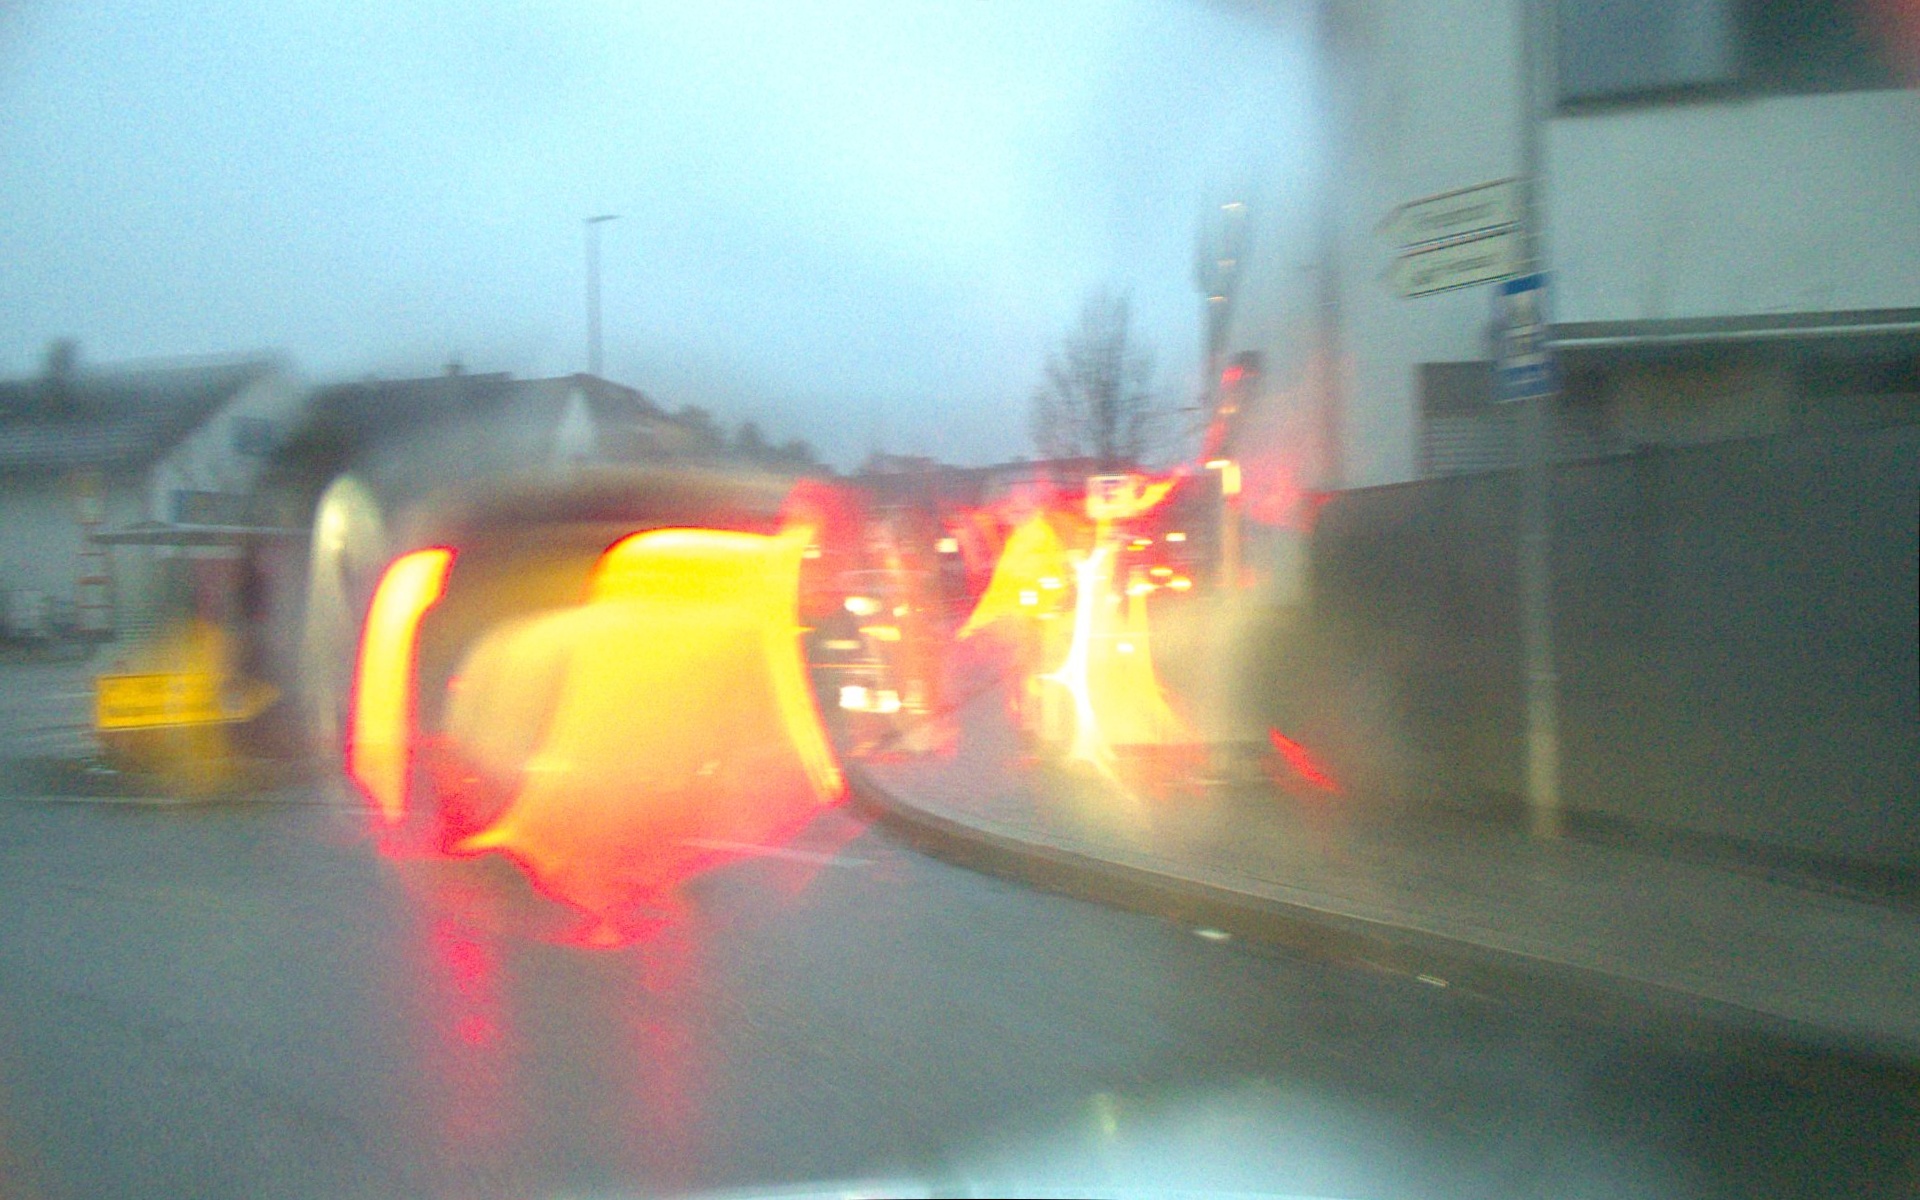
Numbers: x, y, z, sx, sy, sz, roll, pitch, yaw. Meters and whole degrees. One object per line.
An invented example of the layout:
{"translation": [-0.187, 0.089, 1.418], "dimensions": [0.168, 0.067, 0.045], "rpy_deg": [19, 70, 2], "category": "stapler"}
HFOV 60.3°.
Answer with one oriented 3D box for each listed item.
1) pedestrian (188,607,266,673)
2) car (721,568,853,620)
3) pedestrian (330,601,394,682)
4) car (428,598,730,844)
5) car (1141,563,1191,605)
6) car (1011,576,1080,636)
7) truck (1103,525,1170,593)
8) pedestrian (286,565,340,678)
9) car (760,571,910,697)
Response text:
{"translation": [-11.828, 0.639, 26.702], "dimensions": [0.843, 1.028, 0.812], "rpy_deg": [-1, 1, 7], "category": "pedestrian"}
{"translation": [-5.991, -0.207, 57.467], "dimensions": [4.216, 1.668, 1.848], "rpy_deg": [-1, 1, 6], "category": "car"}
{"translation": [-10.357, 0.712, 28.671], "dimensions": [0.766, 1.371, 0.717], "rpy_deg": [-1, 1, 10], "category": "pedestrian"}
{"translation": [-2.559, 0.731, 11.940], "dimensions": [1.677, 1.447, 4.006], "rpy_deg": [-1, 0, -7], "category": "car"}
{"translation": [7.919, -0.630, 63.441], "dimensions": [1.654, 1.492, 3.723], "rpy_deg": [-1, 2, 11], "category": "car"}
{"translation": [2.633, 0.160, 50.210], "dimensions": [1.685, 1.660, 4.004], "rpy_deg": [-1, 1, 9], "category": "car"}
{"translation": [8.552, -1.974, 79.521], "dimensions": [2.657, 3.062, 5.998], "rpy_deg": [-1, 1, 11], "category": "truck"}
{"translation": [-10.802, 0.351, 27.640], "dimensions": [0.716, 1.849, 0.529], "rpy_deg": [-1, 1, -13], "category": "pedestrian"}
{"translation": [-1.774, 0.429, 24.650], "dimensions": [1.876, 1.643, 3.951], "rpy_deg": [-1, 2, 0], "category": "car"}
